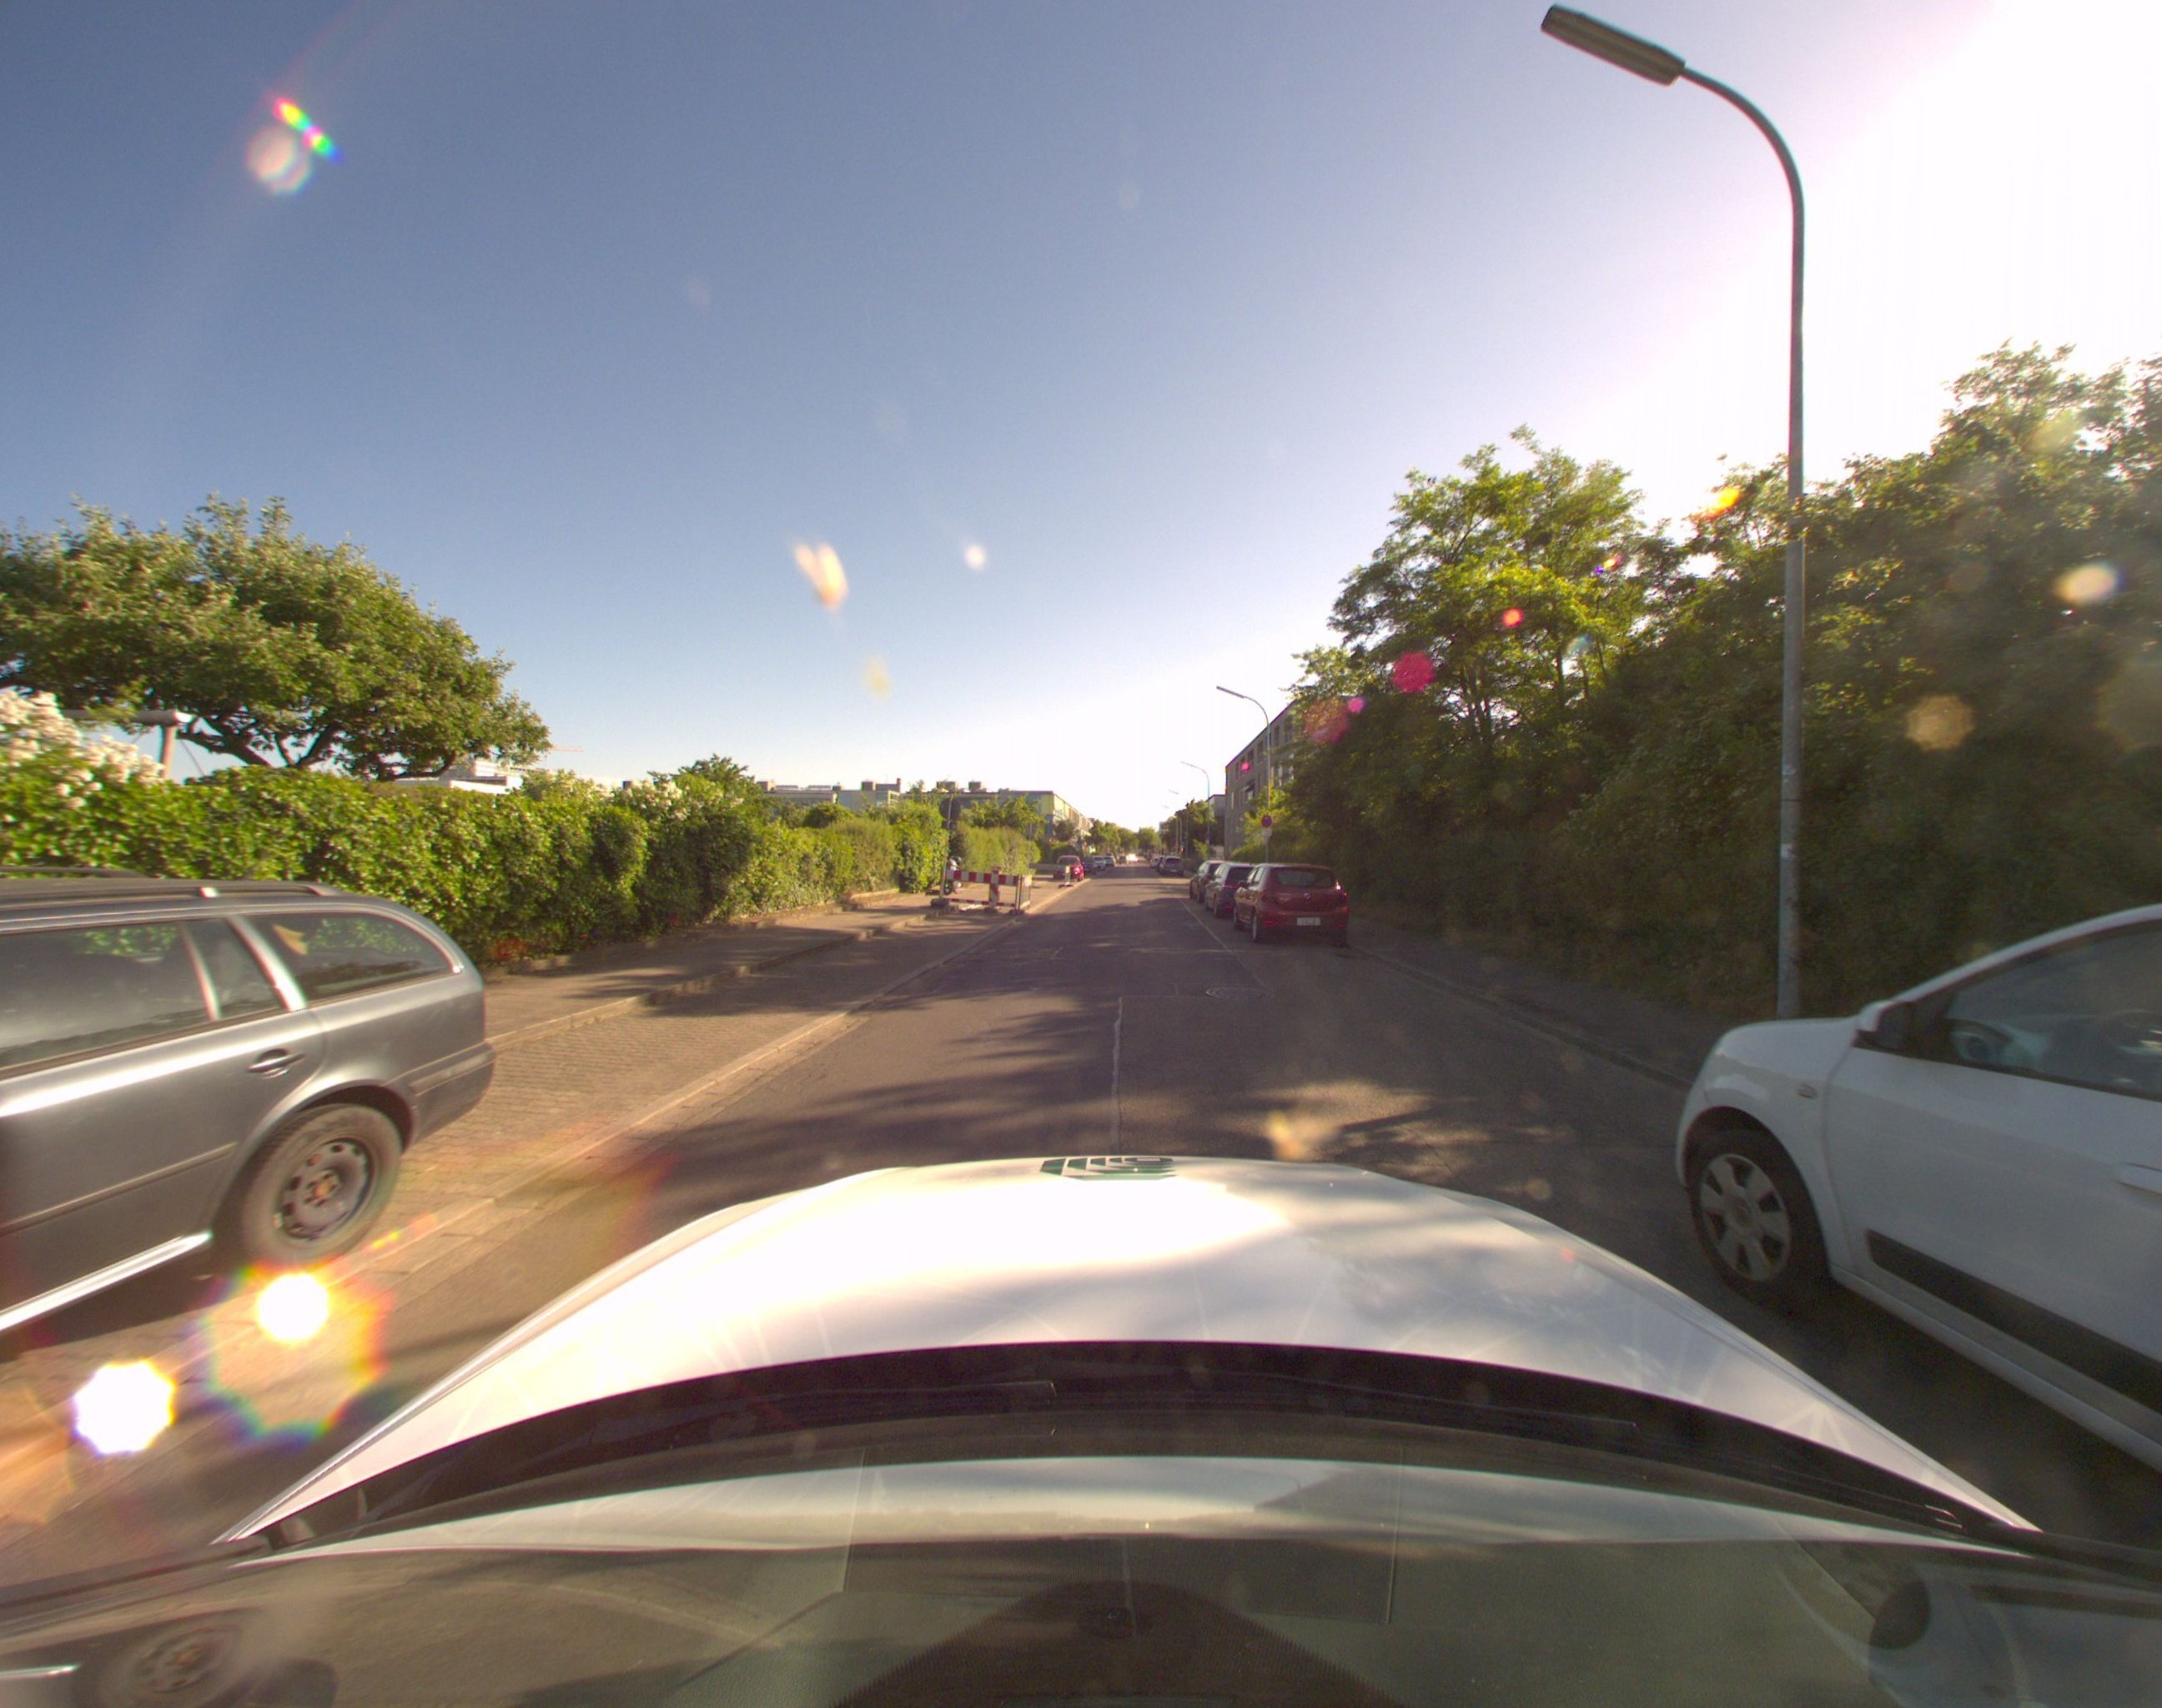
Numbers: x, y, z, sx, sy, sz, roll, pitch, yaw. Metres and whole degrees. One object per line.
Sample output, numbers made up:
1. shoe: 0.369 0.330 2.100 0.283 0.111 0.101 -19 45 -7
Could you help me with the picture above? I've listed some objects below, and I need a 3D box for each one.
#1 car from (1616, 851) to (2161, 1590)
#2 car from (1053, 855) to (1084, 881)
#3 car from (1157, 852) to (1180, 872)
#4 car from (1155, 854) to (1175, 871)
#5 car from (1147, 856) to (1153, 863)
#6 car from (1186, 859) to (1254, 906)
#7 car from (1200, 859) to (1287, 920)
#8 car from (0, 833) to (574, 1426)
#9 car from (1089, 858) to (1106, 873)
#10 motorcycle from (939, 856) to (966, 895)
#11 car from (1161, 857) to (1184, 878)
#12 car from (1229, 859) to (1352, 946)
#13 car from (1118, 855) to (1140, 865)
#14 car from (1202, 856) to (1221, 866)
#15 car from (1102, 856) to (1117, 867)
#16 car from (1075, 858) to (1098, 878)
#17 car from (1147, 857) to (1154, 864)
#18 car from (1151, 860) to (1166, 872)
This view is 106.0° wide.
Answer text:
1. car: 3.069 0.802 1.820 1.549 1.538 3.559 3 0 4
2. car: -0.700 0.839 48.521 1.553 1.495 3.574 0 0 4
3. car: 7.441 0.701 69.859 1.669 1.608 4.182 3 0 3
4. car: 8.239 0.826 79.816 1.734 1.625 4.183 2 0 4
5. car: 16.895 1.350 199.784 1.439 1.549 3.617 2 0 3
6. car: 4.823 0.937 28.753 1.747 1.413 4.659 3 0 3
7. car: 4.378 0.901 22.581 1.648 1.445 4.660 3 0 3
8. car: -3.749 0.742 2.216 1.636 1.556 4.422 4 0 4
9. car: 1.730 1.192 83.861 1.553 1.495 3.762 0 0 4
10. motorcycle: -4.374 0.717 27.818 0.565 1.268 2.090 2 -1 0
11. car: 7.216 1.064 64.557 1.615 1.526 3.906 3 0 5
12. car: 4.118 0.884 16.576 1.648 1.486 3.842 3 0 3
13. car: 7.888 0.958 134.461 1.674 1.549 3.635 2 -1 43
14. car: 22.665 1.270 141.913 3.199 1.549 1.452 2 0 6
15. car: 3.994 1.026 113.077 1.846 1.428 4.138 2 0 4
16. car: 0.483 1.118 66.842 1.553 1.495 3.574 3 0 4
17. car: 14.920 1.393 174.420 1.439 1.549 3.617 2 0 3
18. car: 9.813 1.525 103.818 1.734 1.428 4.138 2 0 4
